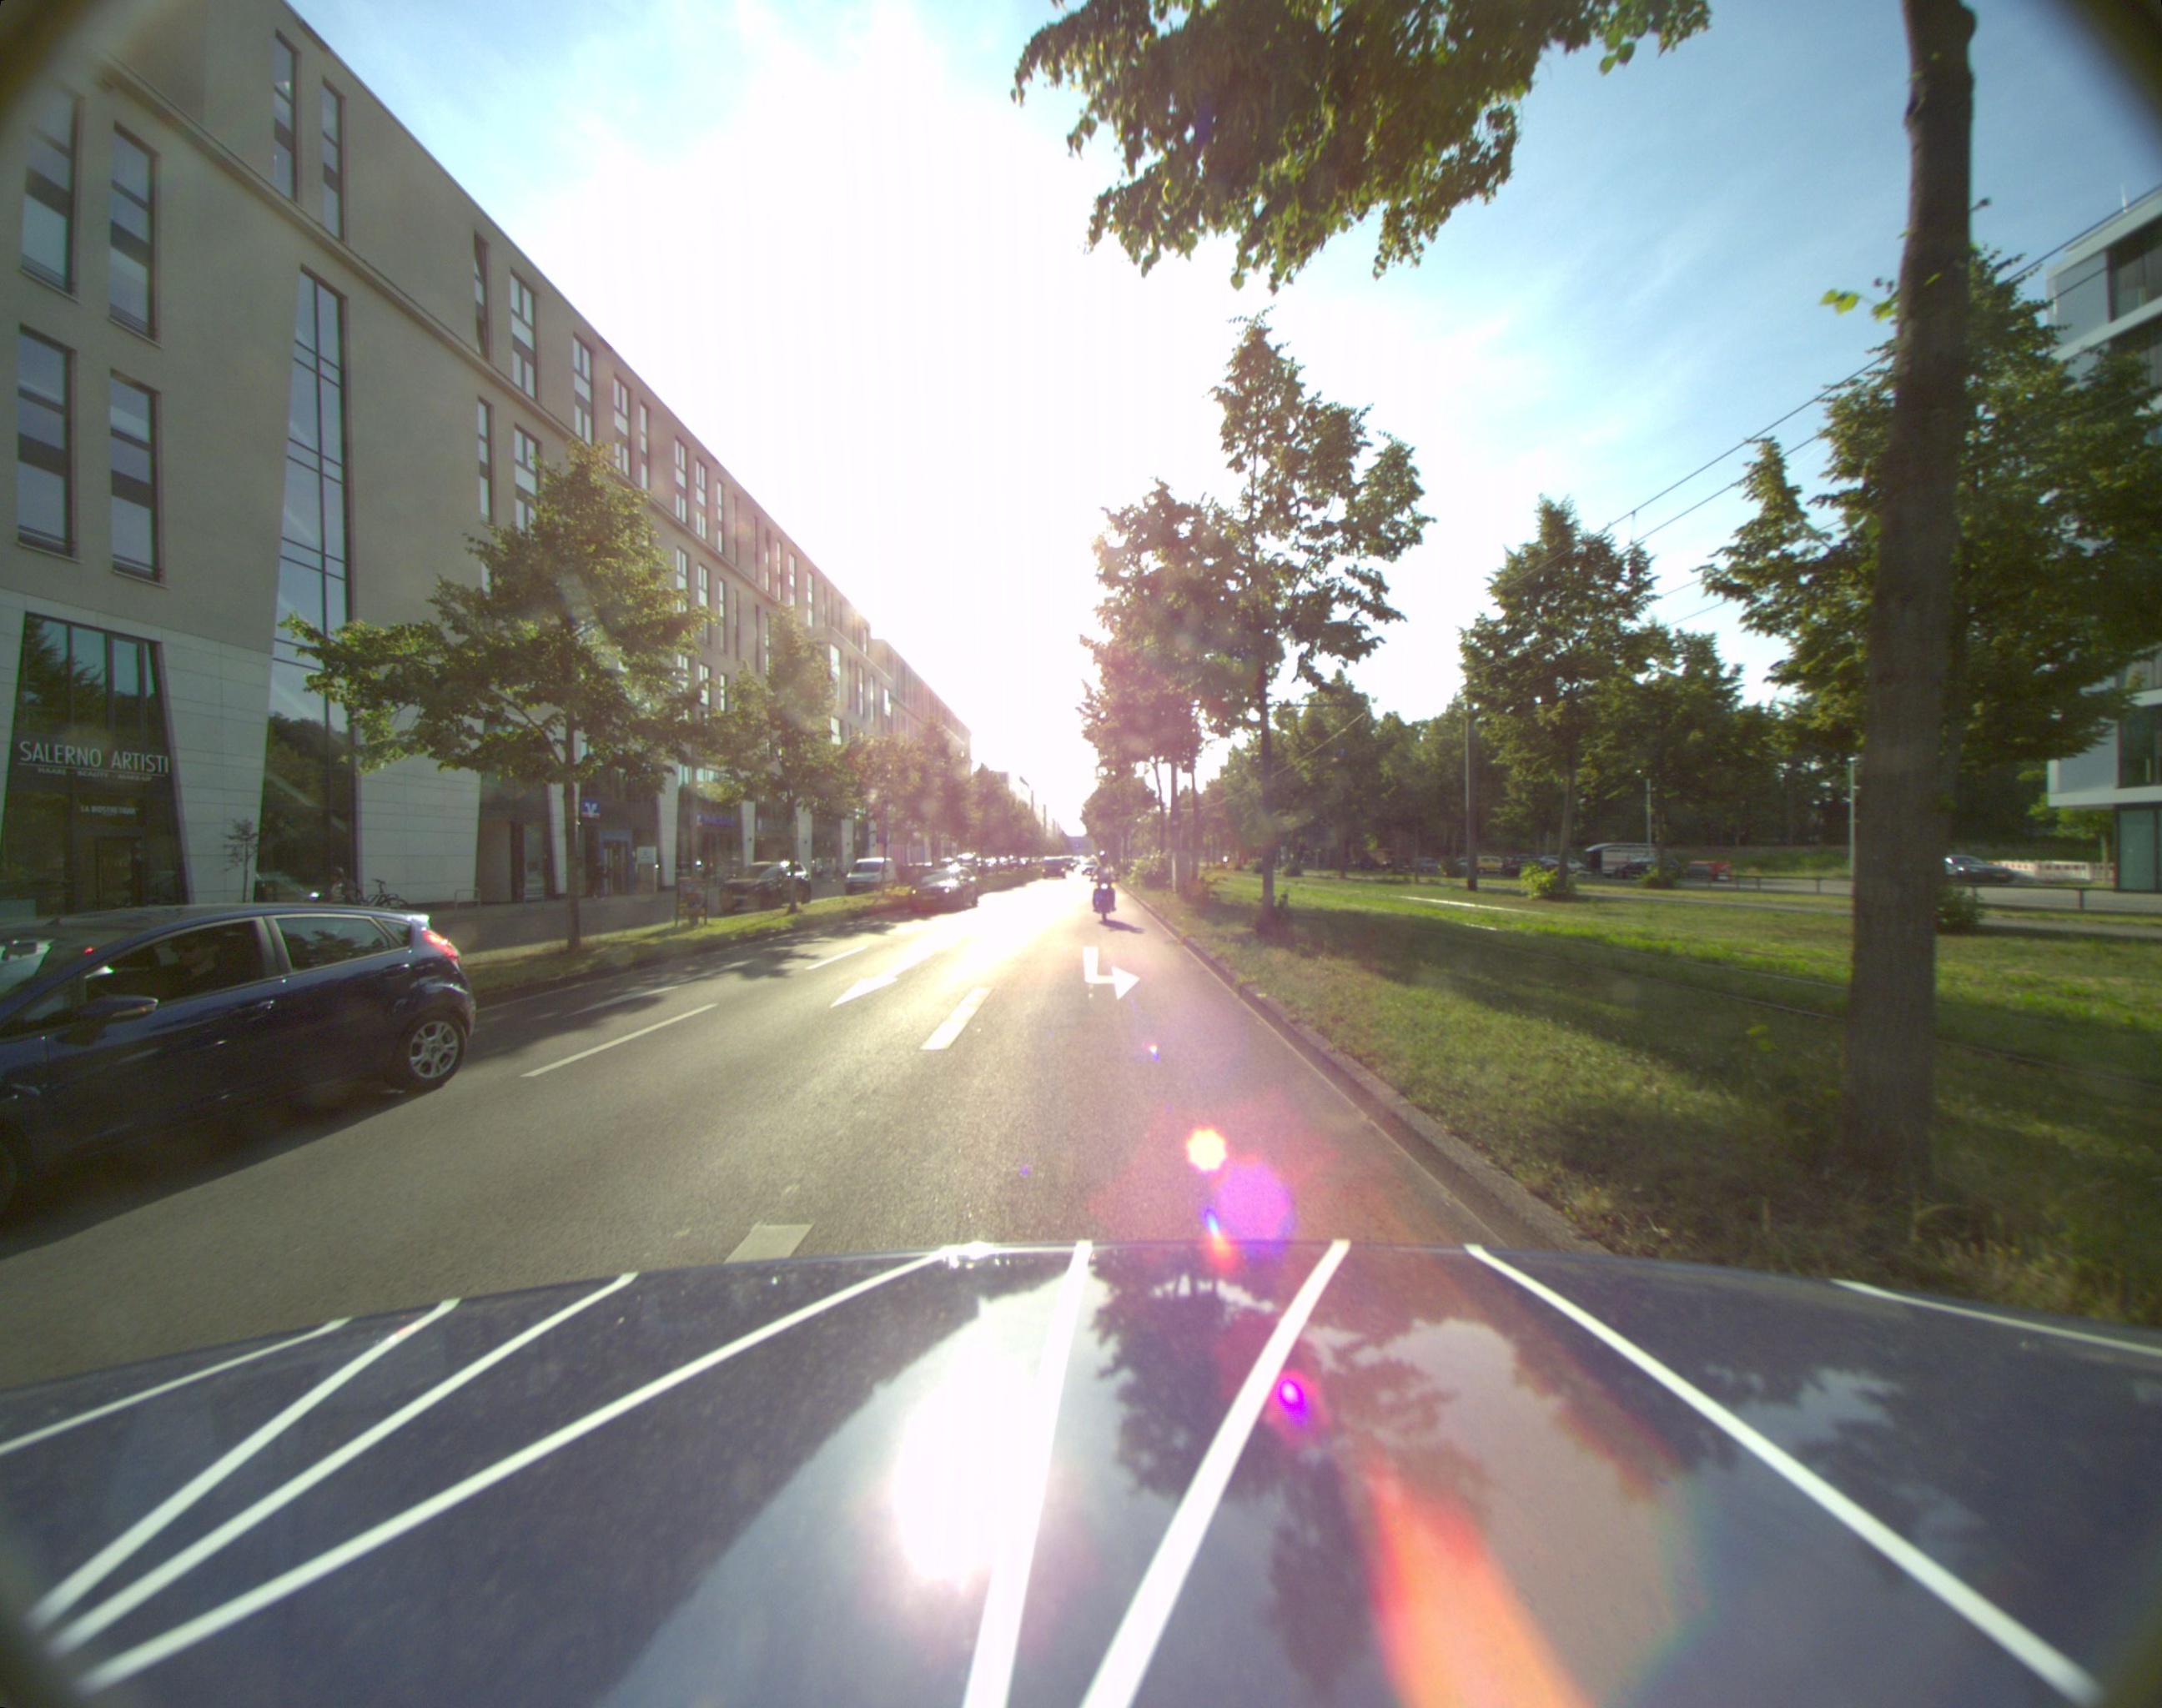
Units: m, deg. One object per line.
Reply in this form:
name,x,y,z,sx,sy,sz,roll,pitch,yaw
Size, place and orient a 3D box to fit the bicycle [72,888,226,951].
bicycle,-18.265,1.257,14.964,0.635,1.077,1.904,0,0,1

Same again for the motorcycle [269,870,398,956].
motorcycle,-15.724,1.191,16.074,0.702,1.608,2.011,3,1,1

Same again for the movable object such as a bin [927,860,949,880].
movable object such as a bin,-10.047,1.134,53.531,1.281,1.294,1.191,-3,1,-2

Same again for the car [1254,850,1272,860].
car,28.616,0.217,119.762,1.835,1.423,4.474,-3,1,2

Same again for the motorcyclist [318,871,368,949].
motorcyclist,-15.715,1.179,16.188,0.625,1.631,0.417,1,1,-2

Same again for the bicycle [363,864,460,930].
bicycle,-18.234,1.131,20.773,0.557,1.610,2.212,-3,1,2

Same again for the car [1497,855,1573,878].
car,30.419,0.842,51.031,1.778,1.419,3.991,-3,1,-27

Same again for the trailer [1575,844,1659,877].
trailer,36.758,0.462,52.157,4.374,2.042,1.758,-3,1,4

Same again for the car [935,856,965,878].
car,-10.424,1.014,60.804,1.735,1.620,4.849,-1,0,-2

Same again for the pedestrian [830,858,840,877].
pedestrian,-20.023,1.128,61.823,0.515,1.513,0.597,-3,1,1

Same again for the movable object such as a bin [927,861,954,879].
movable object such as a bin,-10.175,1.163,55.065,1.399,1.229,1.338,-2,1,28

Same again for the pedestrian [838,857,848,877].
pedestrian,-19.335,1.068,61.674,0.514,1.565,0.540,-2,1,7

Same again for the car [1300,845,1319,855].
car,38.946,-0.746,129.587,1.835,1.602,4.474,-3,1,2

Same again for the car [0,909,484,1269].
car,-5.611,1.177,4.120,1.564,1.416,3.907,-3,0,1

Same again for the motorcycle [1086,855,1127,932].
motorcycle,0.582,0.893,18.338,0.798,1.659,2.634,-3,1,0

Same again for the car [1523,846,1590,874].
car,36.288,0.456,58.032,4.002,1.936,1.757,-3,1,1

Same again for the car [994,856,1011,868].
car,-10.306,1.025,99.627,1.733,1.424,4.113,-3,1,0

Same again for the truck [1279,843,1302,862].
truck,41.777,-0.298,151.796,2.895,3.496,7.946,-2,1,5

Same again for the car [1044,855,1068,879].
car,-2.146,1.071,66.418,1.803,1.880,4.821,-3,1,1

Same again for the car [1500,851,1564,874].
car,36.234,0.687,61.112,4.002,1.633,1.757,-3,1,1

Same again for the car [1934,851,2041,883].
car,49.782,0.675,41.842,1.687,1.548,4.003,-2,1,13

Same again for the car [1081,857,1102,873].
car,0.998,1.037,73.789,1.756,1.427,4.034,-3,1,-2

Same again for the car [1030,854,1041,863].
car,-8.933,0.884,150.655,1.840,1.521,4.328,-3,1,1

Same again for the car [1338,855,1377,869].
car,30.977,0.890,85.313,1.689,1.427,4.027,-3,1,-25

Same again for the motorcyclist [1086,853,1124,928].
motorcyclist,0.561,0.843,18.084,0.814,1.700,0.843,-3,1,0

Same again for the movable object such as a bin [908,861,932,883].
movable object such as a bin,-10.229,1.141,48.329,1.281,1.284,1.178,-3,1,-2

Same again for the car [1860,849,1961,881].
car,46.889,0.601,43.071,1.851,1.586,4.003,-2,1,12

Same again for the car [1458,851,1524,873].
car,38.069,0.727,70.679,5.071,1.725,1.886,-3,1,3

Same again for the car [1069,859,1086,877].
car,-0.442,1.713,91.898,1.909,2.002,4.000,-3,1,1

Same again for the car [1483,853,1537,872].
car,36.189,0.734,64.140,3.576,1.417,1.726,-3,1,1

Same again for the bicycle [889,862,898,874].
bicycle,-17.377,1.271,70.559,0.345,1.075,1.732,3,1,1

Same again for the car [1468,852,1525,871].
car,37.262,0.672,68.197,3.996,1.551,1.856,-3,1,3

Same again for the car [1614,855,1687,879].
car,36.054,0.792,48.196,1.684,1.385,3.760,-3,1,-2

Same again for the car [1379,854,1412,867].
car,37.232,0.731,90.030,1.791,1.434,4.359,-3,1,-5

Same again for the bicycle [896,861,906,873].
bicycle,-17.412,1.251,73.668,0.419,0.995,2.043,3,1,1

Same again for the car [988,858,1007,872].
car,-9.161,1.221,83.494,1.620,1.404,4.166,-3,1,-2

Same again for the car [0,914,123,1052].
car,-11.190,1.322,6.208,1.712,1.235,3.905,-3,1,0

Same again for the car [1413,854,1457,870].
car,37.513,0.823,80.616,3.865,1.477,1.744,-2,1,9

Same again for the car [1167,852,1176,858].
car,22.520,0.220,188.857,1.686,1.467,4.813,1,1,1

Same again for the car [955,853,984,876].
car,-10.288,0.952,70.448,1.842,1.865,5.031,-3,1,0

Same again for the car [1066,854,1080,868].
car,-1.281,1.082,120.417,1.998,2.002,3.999,-3,1,1

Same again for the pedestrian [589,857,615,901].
pedestrian,-19.691,1.013,31.224,0.538,1.752,0.646,-3,1,1

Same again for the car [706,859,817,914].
car,-11.085,1.066,26.774,1.902,1.698,4.677,-3,0,-1

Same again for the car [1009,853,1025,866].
car,-9.820,0.789,116.821,1.899,1.863,4.844,-3,1,0

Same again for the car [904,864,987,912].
car,-4.740,1.167,27.147,1.697,1.416,4.041,-2,1,7

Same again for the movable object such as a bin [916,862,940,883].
movable object such as a bin,-9.964,1.191,49.566,1.281,1.229,1.191,-3,1,-2

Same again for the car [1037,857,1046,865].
car,-9.207,1.637,178.861,1.840,1.521,4.328,-3,1,1

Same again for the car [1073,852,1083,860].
car,-0.624,0.413,159.920,1.840,1.521,4.328,-3,1,1

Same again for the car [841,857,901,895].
car,-10.713,1.085,39.029,1.832,1.702,4.295,-3,1,0
